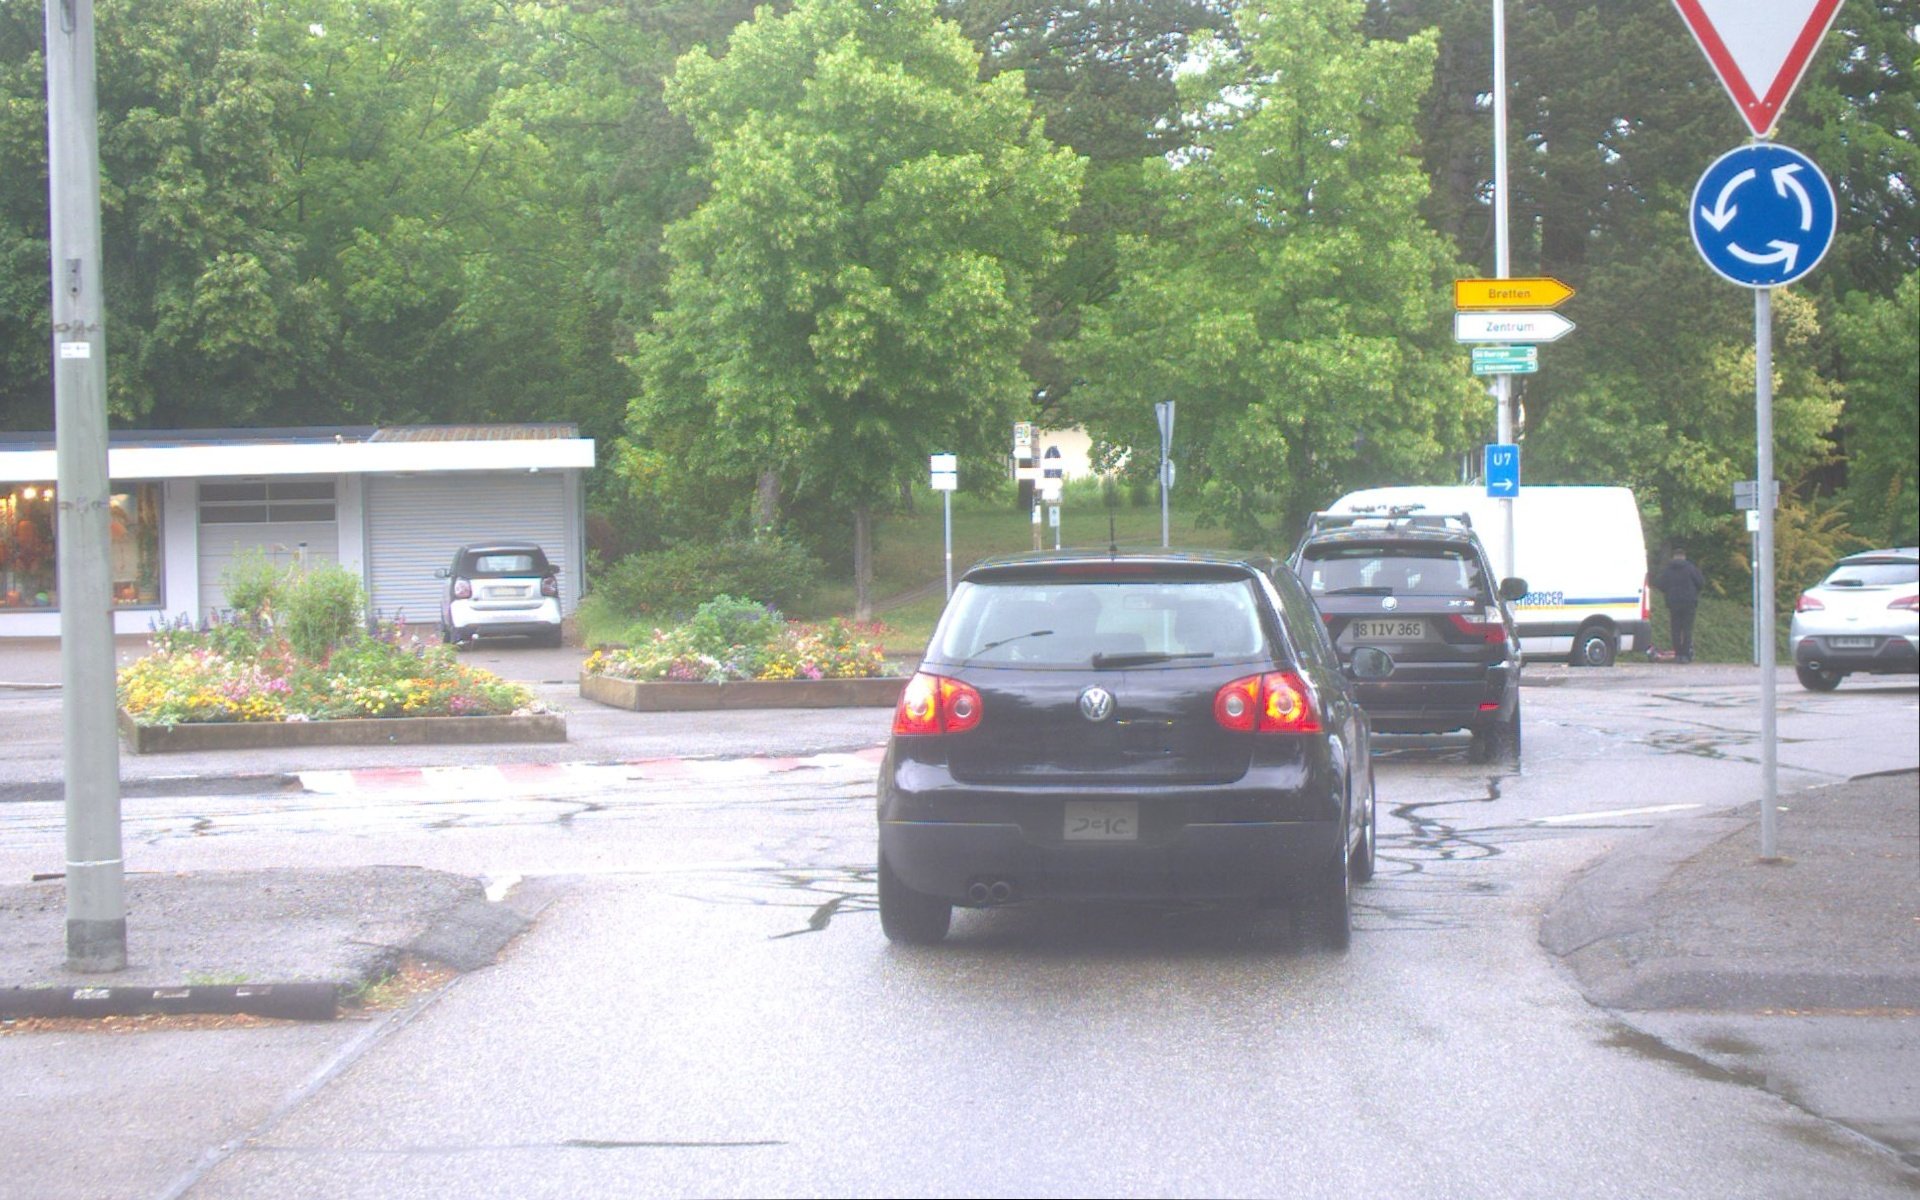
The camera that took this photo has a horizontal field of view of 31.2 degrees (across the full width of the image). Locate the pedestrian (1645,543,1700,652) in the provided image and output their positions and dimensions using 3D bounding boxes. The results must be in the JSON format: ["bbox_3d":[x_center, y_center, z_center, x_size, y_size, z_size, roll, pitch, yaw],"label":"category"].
[{"bbox_3d":[11.303,-0.041,54.513,0.738,1.719,0.816,0,0,20],"label":"pedestrian"}]

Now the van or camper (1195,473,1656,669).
[{"bbox_3d":[5.983,-0.354,43.987,5.650,2.370,2.201,0,0,-30],"label":"van or camper"}]

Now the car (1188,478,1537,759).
[{"bbox_3d":[2.803,0.108,24.862,1.764,1.795,4.247,-2,1,-3],"label":"car"}]

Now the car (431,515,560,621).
[{"bbox_3d":[-7.067,-0.498,52.113,1.812,1.481,3.832,-2,1,-8],"label":"car"}]

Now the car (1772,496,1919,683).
[{"bbox_3d":[10.197,-0.160,35.089,1.769,1.795,4.235,-2,1,44],"label":"car"}]

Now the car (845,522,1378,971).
[{"bbox_3d":[0.756,0.469,13.901,1.765,1.533,3.999,0,1,8],"label":"car"}]
